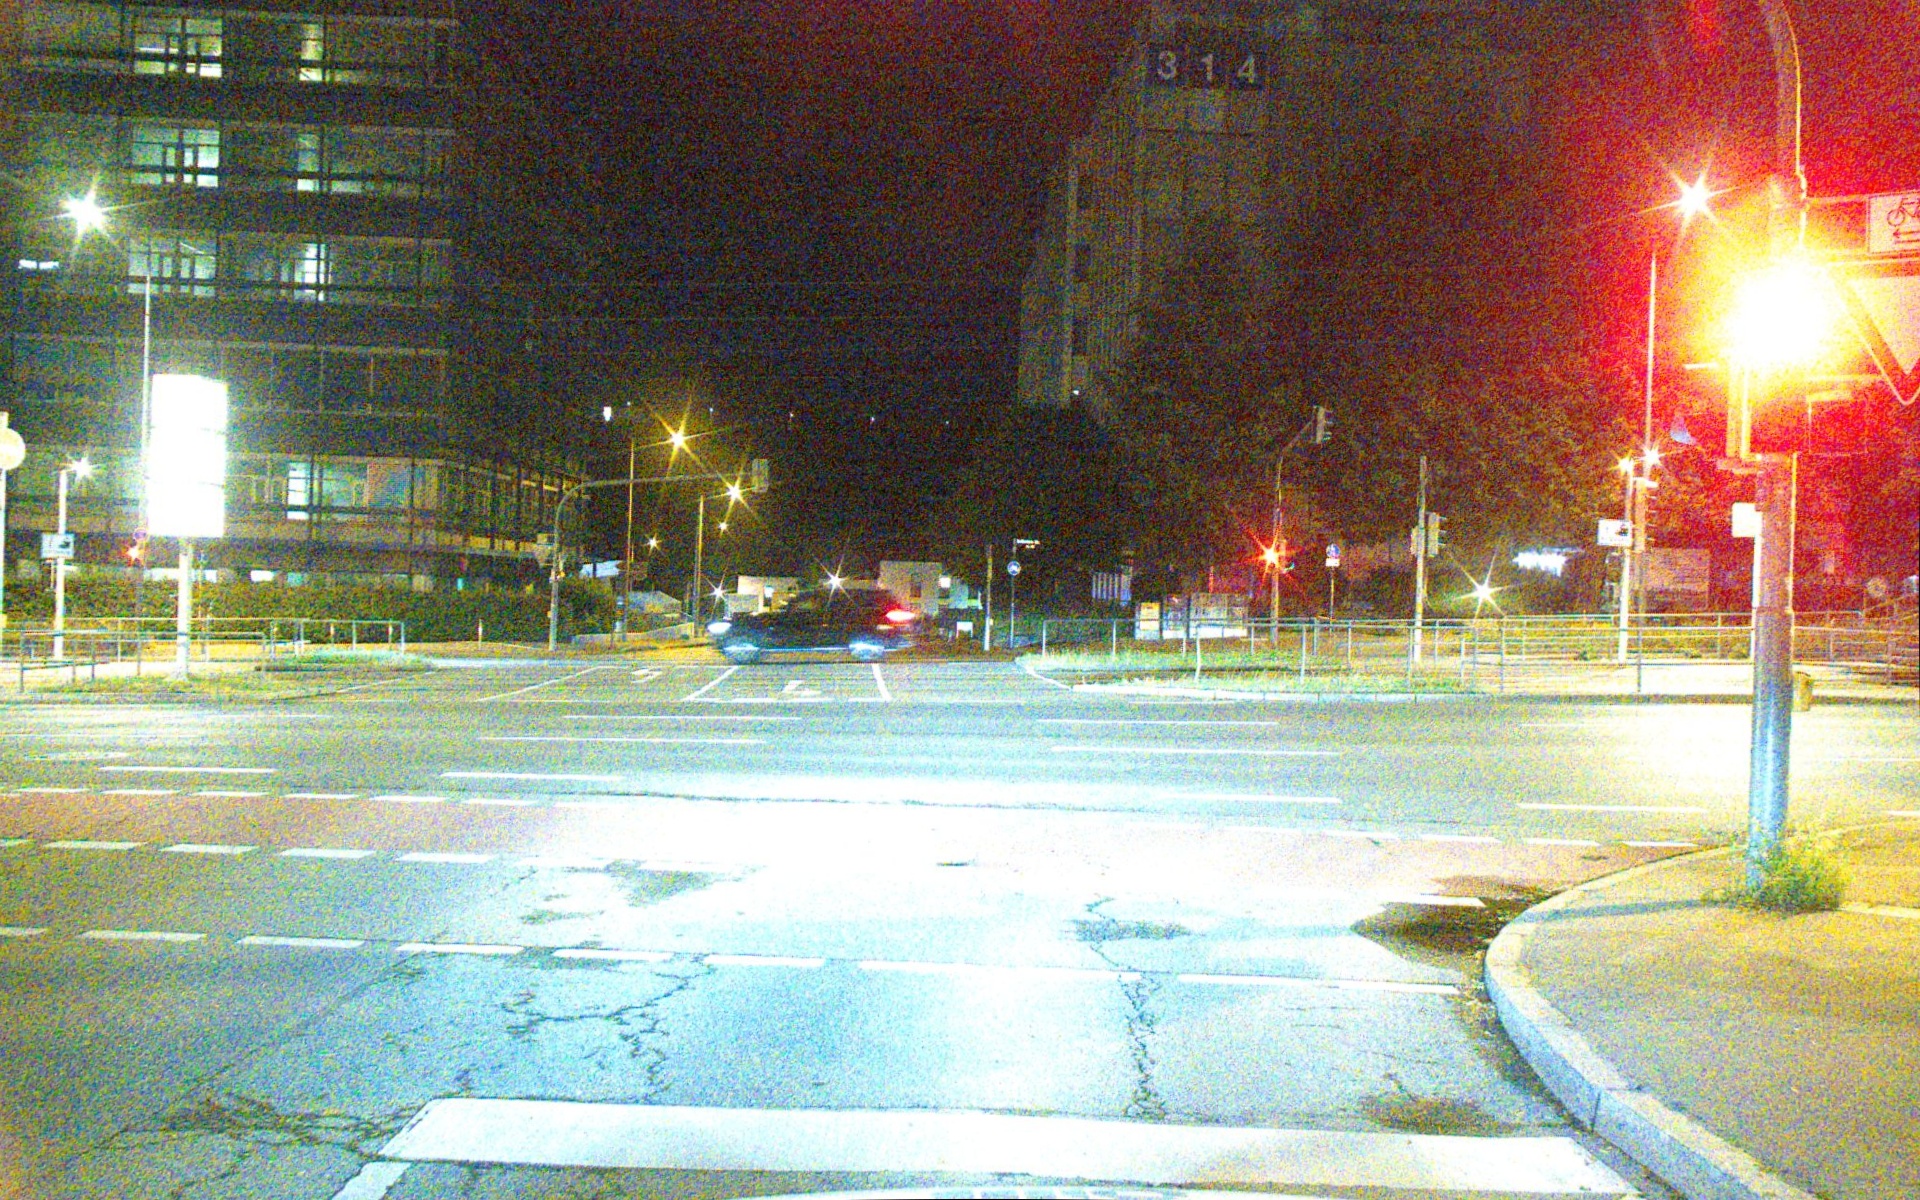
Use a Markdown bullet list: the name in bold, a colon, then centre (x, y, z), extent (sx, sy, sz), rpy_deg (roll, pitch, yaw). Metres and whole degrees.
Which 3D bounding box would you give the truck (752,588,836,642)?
- **truck**: centre (-15.287, 1.304, 150.976), extent (4.751, 4.627, 12.593), rpy_deg (1, 0, -19)

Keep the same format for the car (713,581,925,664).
- **car**: centre (-3.139, 0.502, 37.558), extent (4.521, 1.759, 2.001), rpy_deg (1, 0, 3)

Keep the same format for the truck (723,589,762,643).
- **truck**: centre (-15.680, 1.138, 118.981), extent (2.535, 3.772, 5.724), rpy_deg (1, 0, -9)

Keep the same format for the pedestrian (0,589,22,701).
- **pedestrian**: centre (-14.585, 0.662, 24.710), extent (0.656, 1.663, 0.862), rpy_deg (1, -1, -5)
